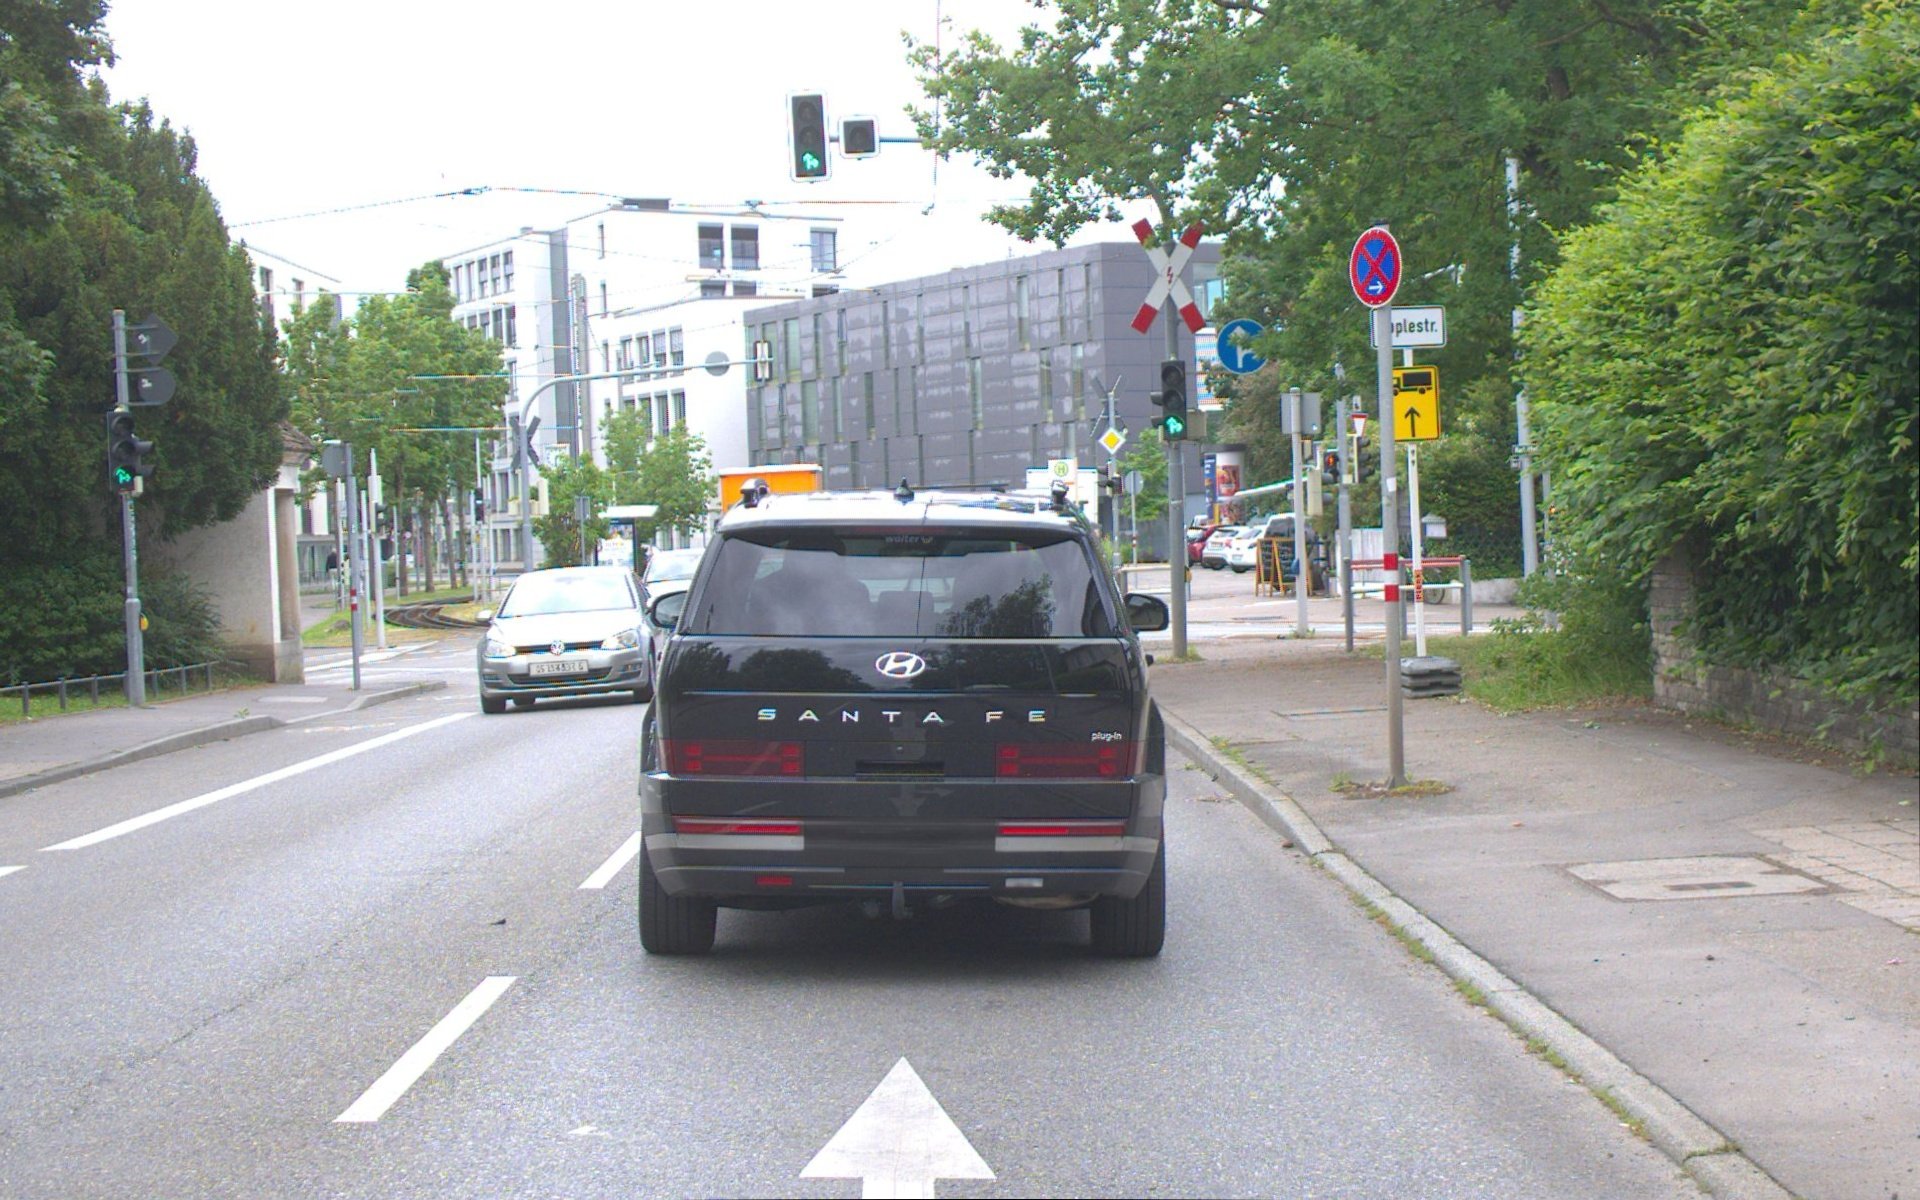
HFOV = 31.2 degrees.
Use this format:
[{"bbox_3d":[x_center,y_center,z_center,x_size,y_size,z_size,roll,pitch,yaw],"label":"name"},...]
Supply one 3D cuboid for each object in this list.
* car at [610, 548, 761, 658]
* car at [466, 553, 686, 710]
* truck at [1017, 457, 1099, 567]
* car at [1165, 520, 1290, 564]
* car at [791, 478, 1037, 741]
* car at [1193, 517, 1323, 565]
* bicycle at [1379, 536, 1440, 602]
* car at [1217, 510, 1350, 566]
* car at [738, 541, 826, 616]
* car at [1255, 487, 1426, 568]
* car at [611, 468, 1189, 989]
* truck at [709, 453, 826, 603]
[{"bbox_3d":[-4.289,0.011,54.299,1.939,1.526,4.526,-4,1,0],"label":"car"},{"bbox_3d":[-3.991,0.289,36.323,1.725,1.457,4.154,-2,1,1],"label":"car"},{"bbox_3d":[3.276,-2.963,116.149,2.573,3.513,7.810,-2,1,1],"label":"truck"},{"bbox_3d":[8.987,-1.937,115.409,3.790,1.468,1.798,0,0,-25],"label":"car"},{"bbox_3d":[-0.471,0.013,29.575,1.855,2.026,4.438,-2,2,-3],"label":"car"},{"bbox_3d":[9.541,-1.878,110.008,3.791,1.468,1.798,0,0,-30],"label":"car"},{"bbox_3d":[8.623,-0.611,65.986,0.548,1.135,1.879,-2,5,-13],"label":"bicycle"},{"bbox_3d":[9.773,-1.867,103.947,3.638,1.430,1.592,-4,0,-27],"label":"car"},{"bbox_3d":[-3.670,-0.466,71.349,1.664,1.444,3.828,-2,1,-1],"label":"car"},{"bbox_3d":[9.098,-1.739,81.956,1.849,1.742,4.686,-1,2,37],"label":"car"},{"bbox_3d":[-0.291,0.378,13.531,1.915,1.719,4.171,0,1,-3],"label":"car"},{"bbox_3d":[-5.120,-1.924,92.795,2.769,3.706,8.470,-3,1,-2],"label":"truck"}]
